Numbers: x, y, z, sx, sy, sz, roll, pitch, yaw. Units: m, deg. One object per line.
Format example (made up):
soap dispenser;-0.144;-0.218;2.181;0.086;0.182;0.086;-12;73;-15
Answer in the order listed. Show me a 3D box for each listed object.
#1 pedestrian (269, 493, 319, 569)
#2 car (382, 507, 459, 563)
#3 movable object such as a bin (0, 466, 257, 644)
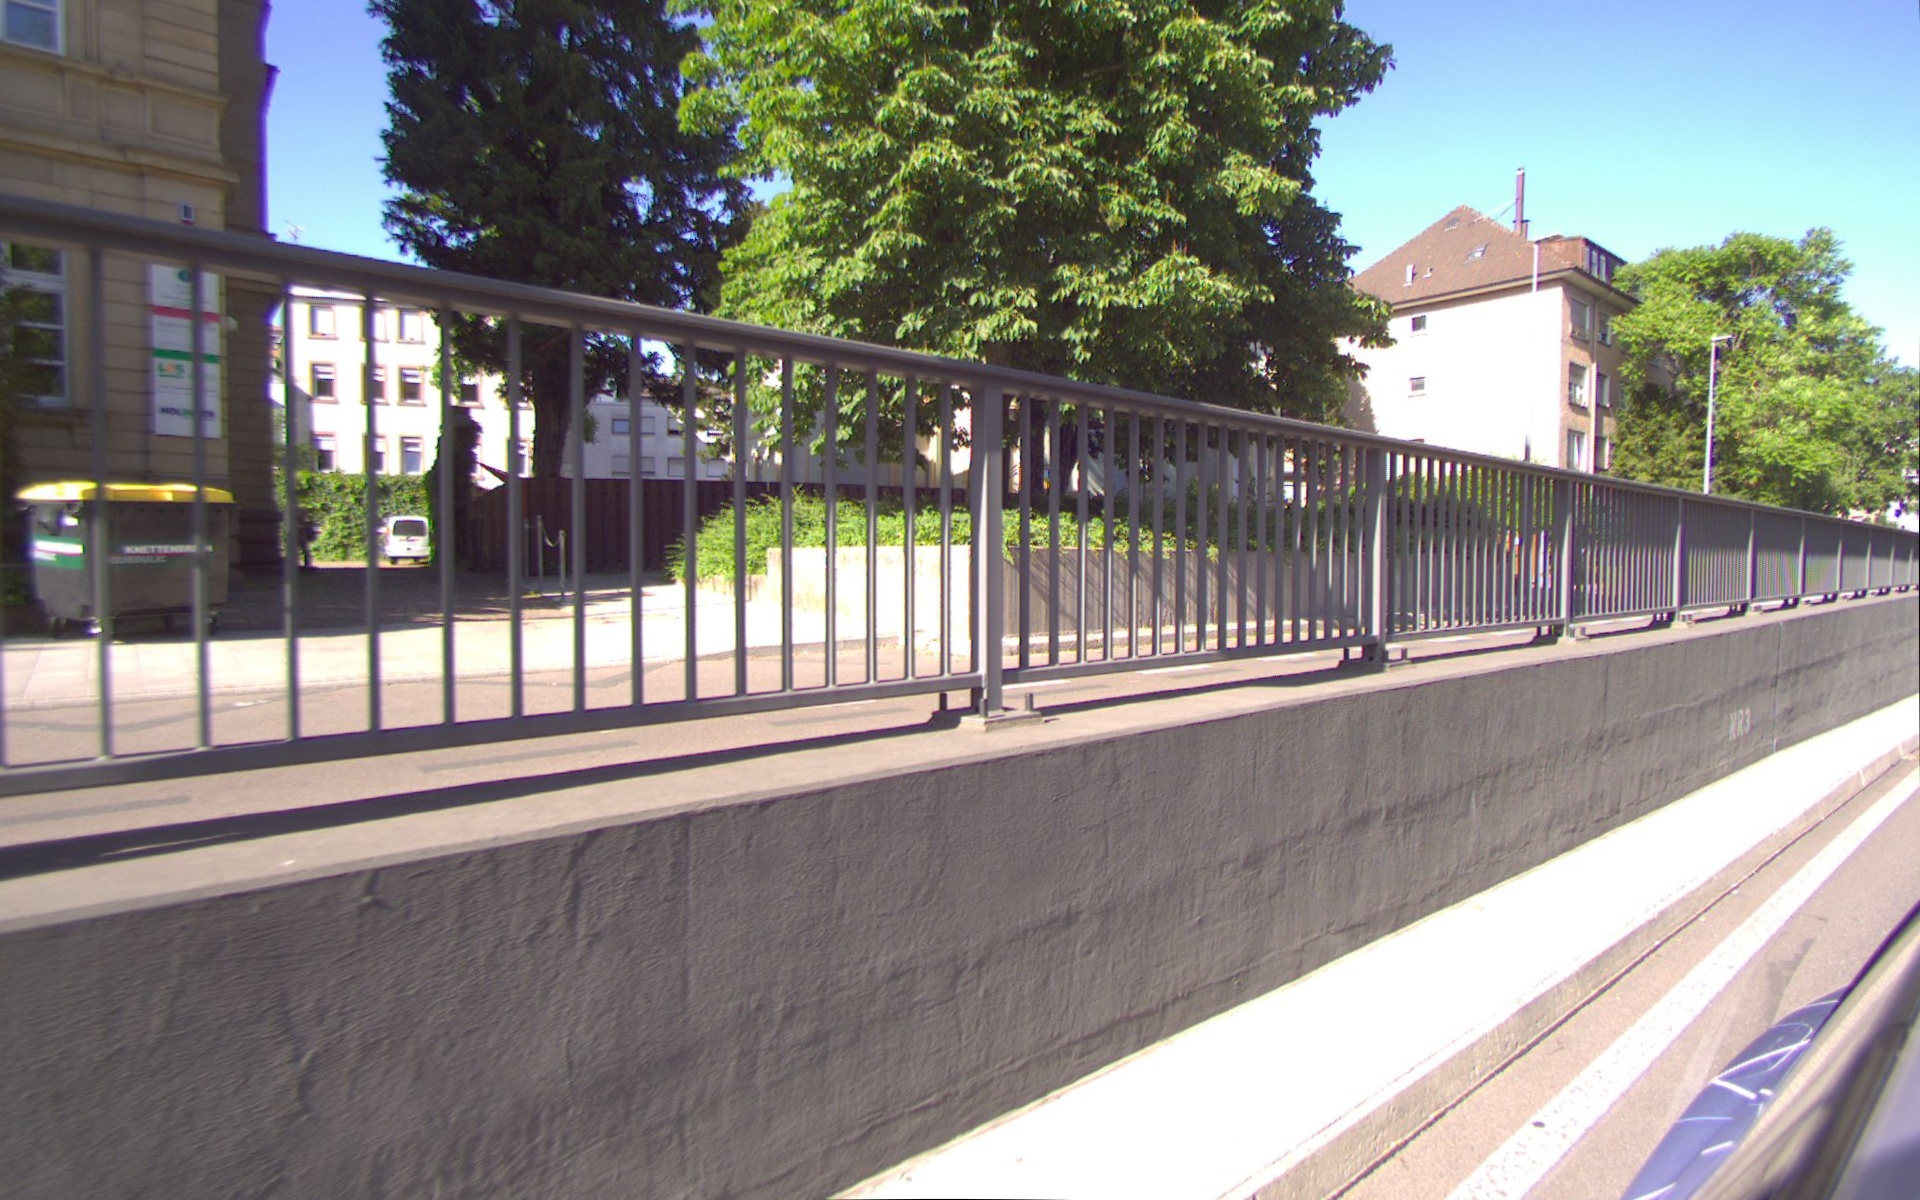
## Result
pedestrian;-13.619;-1.389;20.695;0.797;1.499;0.854;-1;1;-37
car;-20.209;-2.392;38.046;1.806;1.906;3.923;-1;1;-17
movable object such as a bin;-7.329;-0.420;8.922;1.440;1.340;1.395;8;5;32
